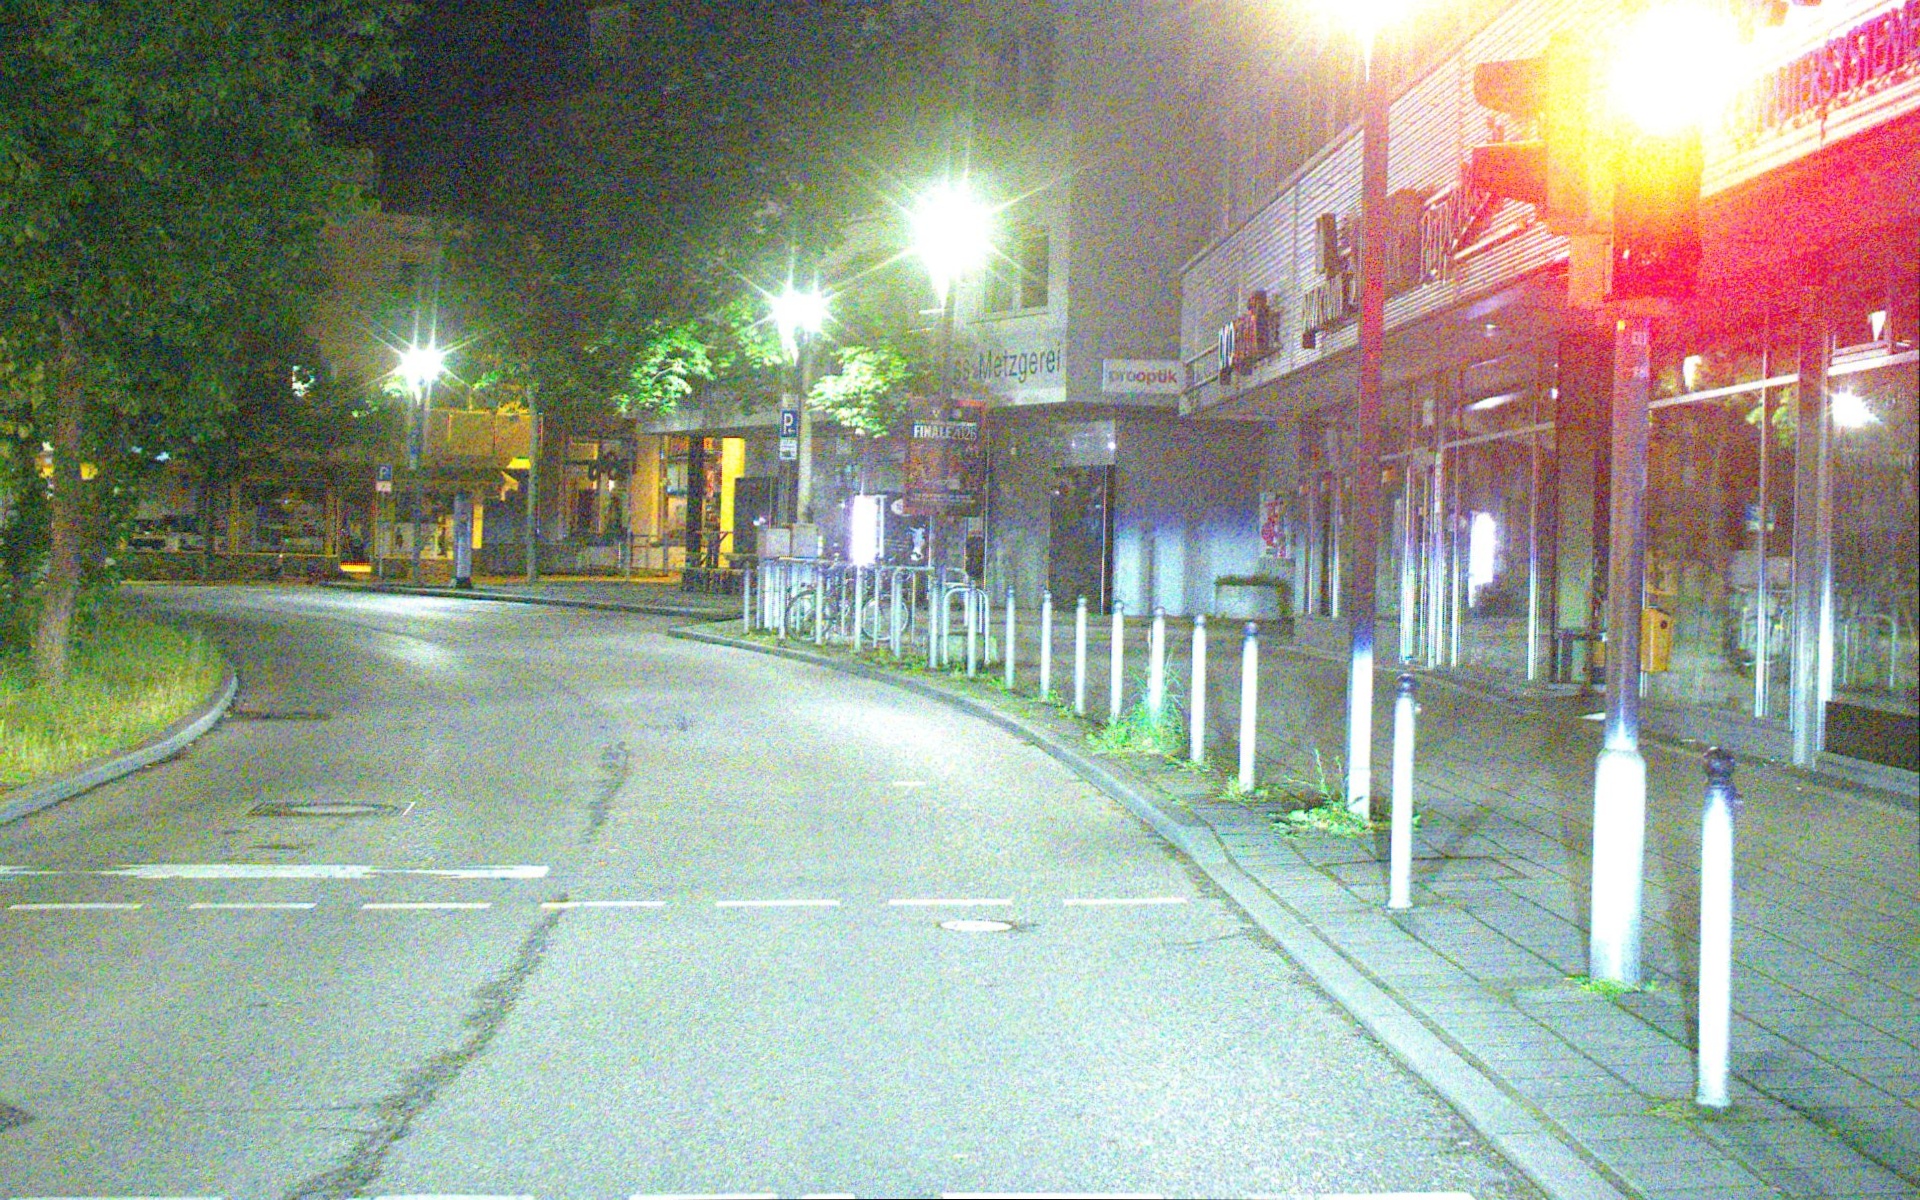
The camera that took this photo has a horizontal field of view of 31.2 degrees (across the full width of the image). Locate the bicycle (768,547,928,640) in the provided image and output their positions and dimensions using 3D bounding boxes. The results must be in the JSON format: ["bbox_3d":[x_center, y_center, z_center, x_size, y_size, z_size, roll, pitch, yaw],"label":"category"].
[{"bbox_3d":[-1.330,-0.079,40.777,1.749,1.059,0.656,1,2,-26],"label":"bicycle"}]

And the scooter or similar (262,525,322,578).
[{"bbox_3d":[-16.168,-1.169,83.189,1.246,1.223,0.598,2,1,-28],"label":"scooter or similar"}]
